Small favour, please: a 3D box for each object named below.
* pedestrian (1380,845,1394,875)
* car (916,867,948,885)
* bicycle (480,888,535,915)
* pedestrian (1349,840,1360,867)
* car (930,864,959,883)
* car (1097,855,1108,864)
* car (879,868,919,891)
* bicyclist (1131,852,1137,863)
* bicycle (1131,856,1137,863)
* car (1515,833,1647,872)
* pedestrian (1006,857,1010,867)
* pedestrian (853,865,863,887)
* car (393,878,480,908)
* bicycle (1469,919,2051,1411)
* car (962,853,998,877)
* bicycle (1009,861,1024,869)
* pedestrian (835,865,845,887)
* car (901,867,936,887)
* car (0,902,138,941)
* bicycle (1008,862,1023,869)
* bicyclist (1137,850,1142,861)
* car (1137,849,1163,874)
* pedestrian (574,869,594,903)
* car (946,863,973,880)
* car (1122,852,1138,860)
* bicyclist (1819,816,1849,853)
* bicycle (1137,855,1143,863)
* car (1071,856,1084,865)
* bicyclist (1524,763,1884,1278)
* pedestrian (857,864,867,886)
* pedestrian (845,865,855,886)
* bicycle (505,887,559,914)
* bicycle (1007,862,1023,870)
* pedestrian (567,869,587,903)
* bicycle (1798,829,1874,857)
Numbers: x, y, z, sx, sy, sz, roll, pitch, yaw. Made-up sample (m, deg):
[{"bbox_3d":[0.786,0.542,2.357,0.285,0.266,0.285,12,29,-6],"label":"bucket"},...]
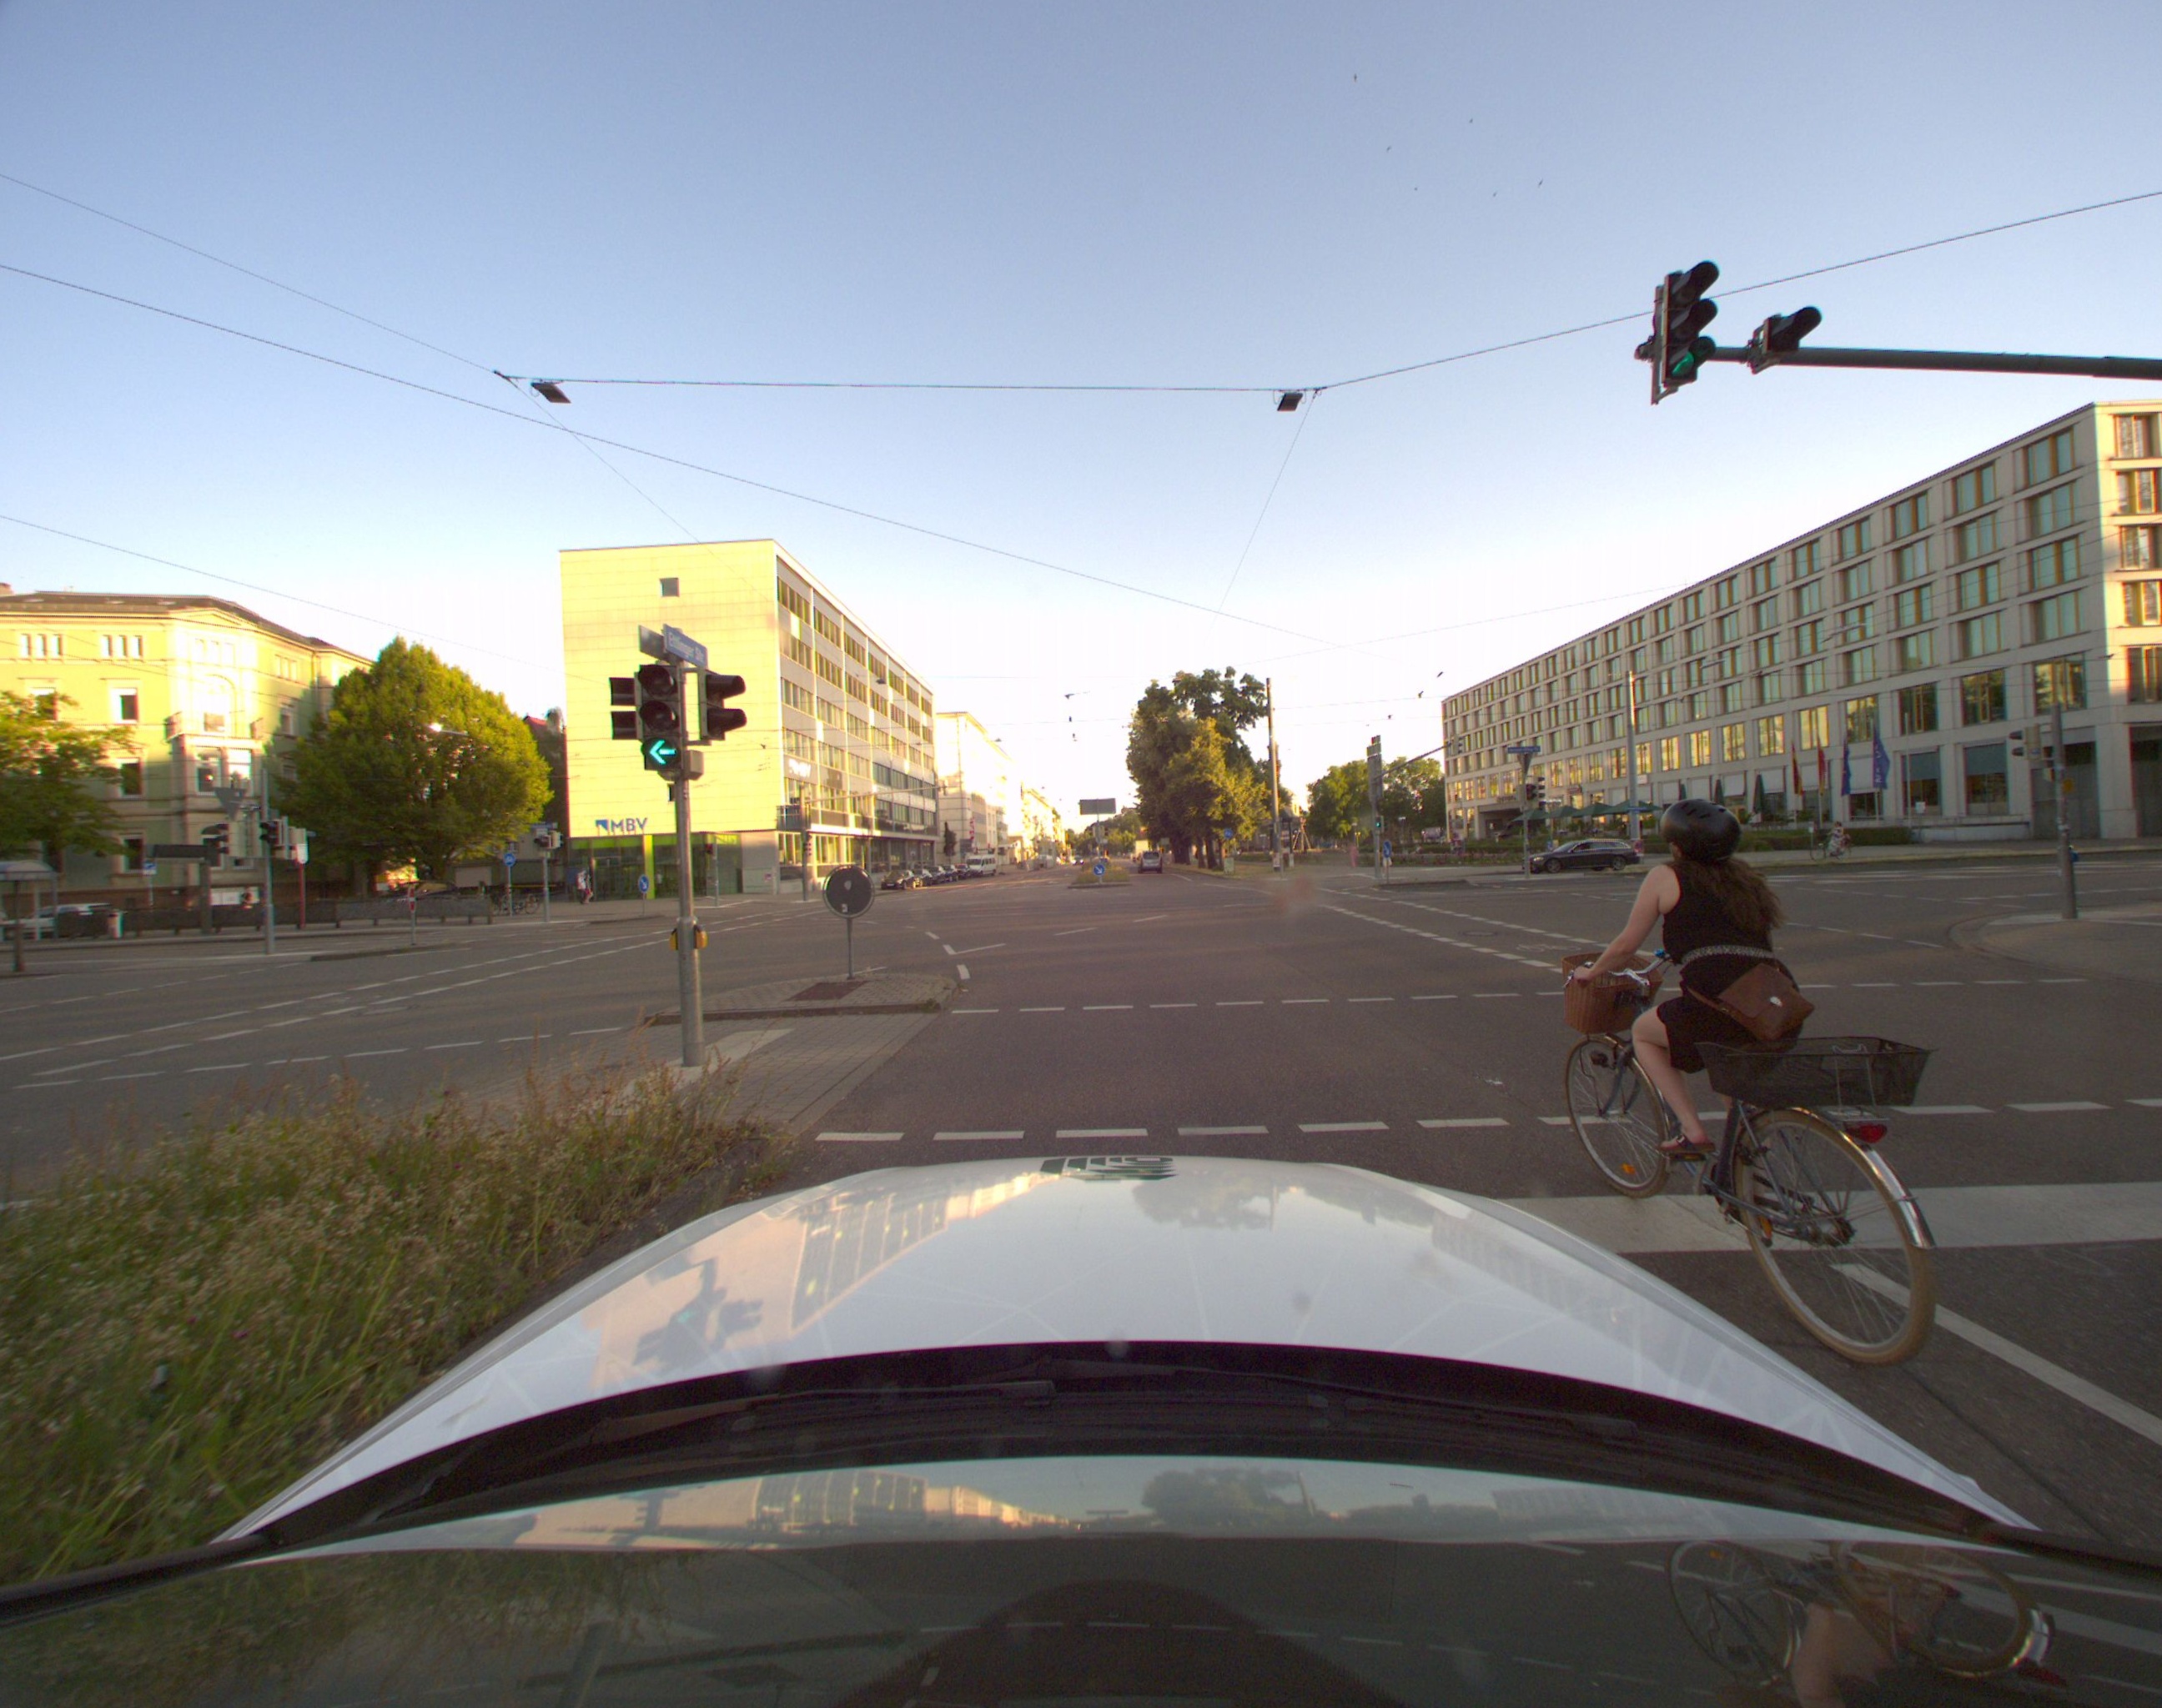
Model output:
[{"bbox_3d":[15.640,0.306,41.633,0.489,1.540,0.408,-3,0,1],"label":"pedestrian"},{"bbox_3d":[-13.199,1.940,72.360,1.913,1.464,4.001,-3,0,2],"label":"car"},{"bbox_3d":[-26.916,2.212,38.286,0.832,1.112,2.216,-3,0,6],"label":"bicycle"},{"bbox_3d":[17.069,-0.055,50.842,0.458,1.656,0.567,-3,0,1],"label":"pedestrian"},{"bbox_3d":[-12.951,1.848,77.662,1.913,1.568,4.001,-3,0,2],"label":"car"},{"bbox_3d":[3.919,1.019,147.960,1.855,1.519,4.003,-3,0,2],"label":"car"},{"bbox_3d":[-13.592,1.876,61.085,1.913,1.464,4.105,-3,0,2],"label":"car"},{"bbox_3d":[8.350,0.604,128.638,0.744,1.663,0.873,-3,0,1],"label":"bicyclist"},{"bbox_3d":[8.382,0.891,129.222,0.744,1.144,2.506,-3,0,2],"label":"bicycle"},{"bbox_3d":[23.169,-0.056,37.877,4.803,1.515,2.002,-3,0,3],"label":"car"},{"bbox_3d":[-14.687,1.548,164.000,0.677,2.013,0.545,-3,0,1],"label":"pedestrian"},{"bbox_3d":[-17.568,1.707,64.166,0.498,1.679,0.500,-3,0,1],"label":"pedestrian"},{"bbox_3d":[-35.345,2.104,44.777,1.830,1.372,3.593,-3,0,0],"label":"car"},{"bbox_3d":[2.261,0.897,3.144,0.609,1.132,2.005,-1,0,2],"label":"bicycle"},{"bbox_3d":[-11.167,1.183,90.323,1.988,2.478,5.887,-3,0,12],"label":"car"},{"bbox_3d":[-10.087,1.737,127.518,2.198,1.236,0.839,-3,0,0],"label":"bicycle"},{"bbox_3d":[-18.763,1.679,63.429,0.549,1.679,0.500,-3,0,1],"label":"pedestrian"},{"bbox_3d":[-13.403,1.886,67.547,1.913,1.464,4.001,-3,0,2],"label":"car"},{"bbox_3d":[-45.162,2.995,36.316,3.588,1.372,1.833,-3,0,-15],"label":"car"},{"bbox_3d":[-10.050,1.778,125.791,2.198,1.112,0.689,-3,0,0],"label":"bicycle"},{"bbox_3d":[9.249,0.304,128.461,0.744,1.691,0.799,-3,0,1],"label":"bicyclist"},{"bbox_3d":[5.556,0.568,66.095,1.757,1.888,4.500,-3,0,1],"label":"car"},{"bbox_3d":[-27.157,1.745,44.490,0.641,1.790,0.720,-3,0,-12],"label":"pedestrian"},{"bbox_3d":[-12.488,1.742,83.885,1.913,1.568,4.001,-3,0,2],"label":"car"},{"bbox_3d":[13.101,0.506,215.715,3.977,2.013,1.998,-3,0,-3],"label":"car"},{"bbox_3d":[32.996,-0.848,35.684,0.705,1.537,0.577,-3,-1,-1],"label":"bicyclist"},{"bbox_3d":[9.282,0.753,128.714,0.744,1.144,2.506,-3,0,2],"label":"bicycle"},{"bbox_3d":[-0.564,1.065,134.954,1.855,1.519,4.003,-3,0,3],"label":"car"},{"bbox_3d":[2.257,0.532,3.098,0.597,1.636,0.999,-1,0,2],"label":"bicyclist"},{"bbox_3d":[-17.073,1.628,63.616,0.549,1.679,0.500,-3,0,1],"label":"pedestrian"},{"bbox_3d":[-18.218,1.683,64.127,0.549,1.679,0.500,-3,0,1],"label":"pedestrian"},{"bbox_3d":[-25.903,2.165,38.482,0.832,1.112,2.216,-3,0,6],"label":"bicycle"},{"bbox_3d":[-10.093,1.776,124.534,2.198,1.112,0.619,-3,0,0],"label":"bicycle"},{"bbox_3d":[-26.986,1.719,43.648,0.641,1.790,0.720,-3,0,-12],"label":"pedestrian"},{"bbox_3d":[33.063,-0.483,35.679,2.762,1.106,0.602,-3,0,-1],"label":"bicycle"}]
